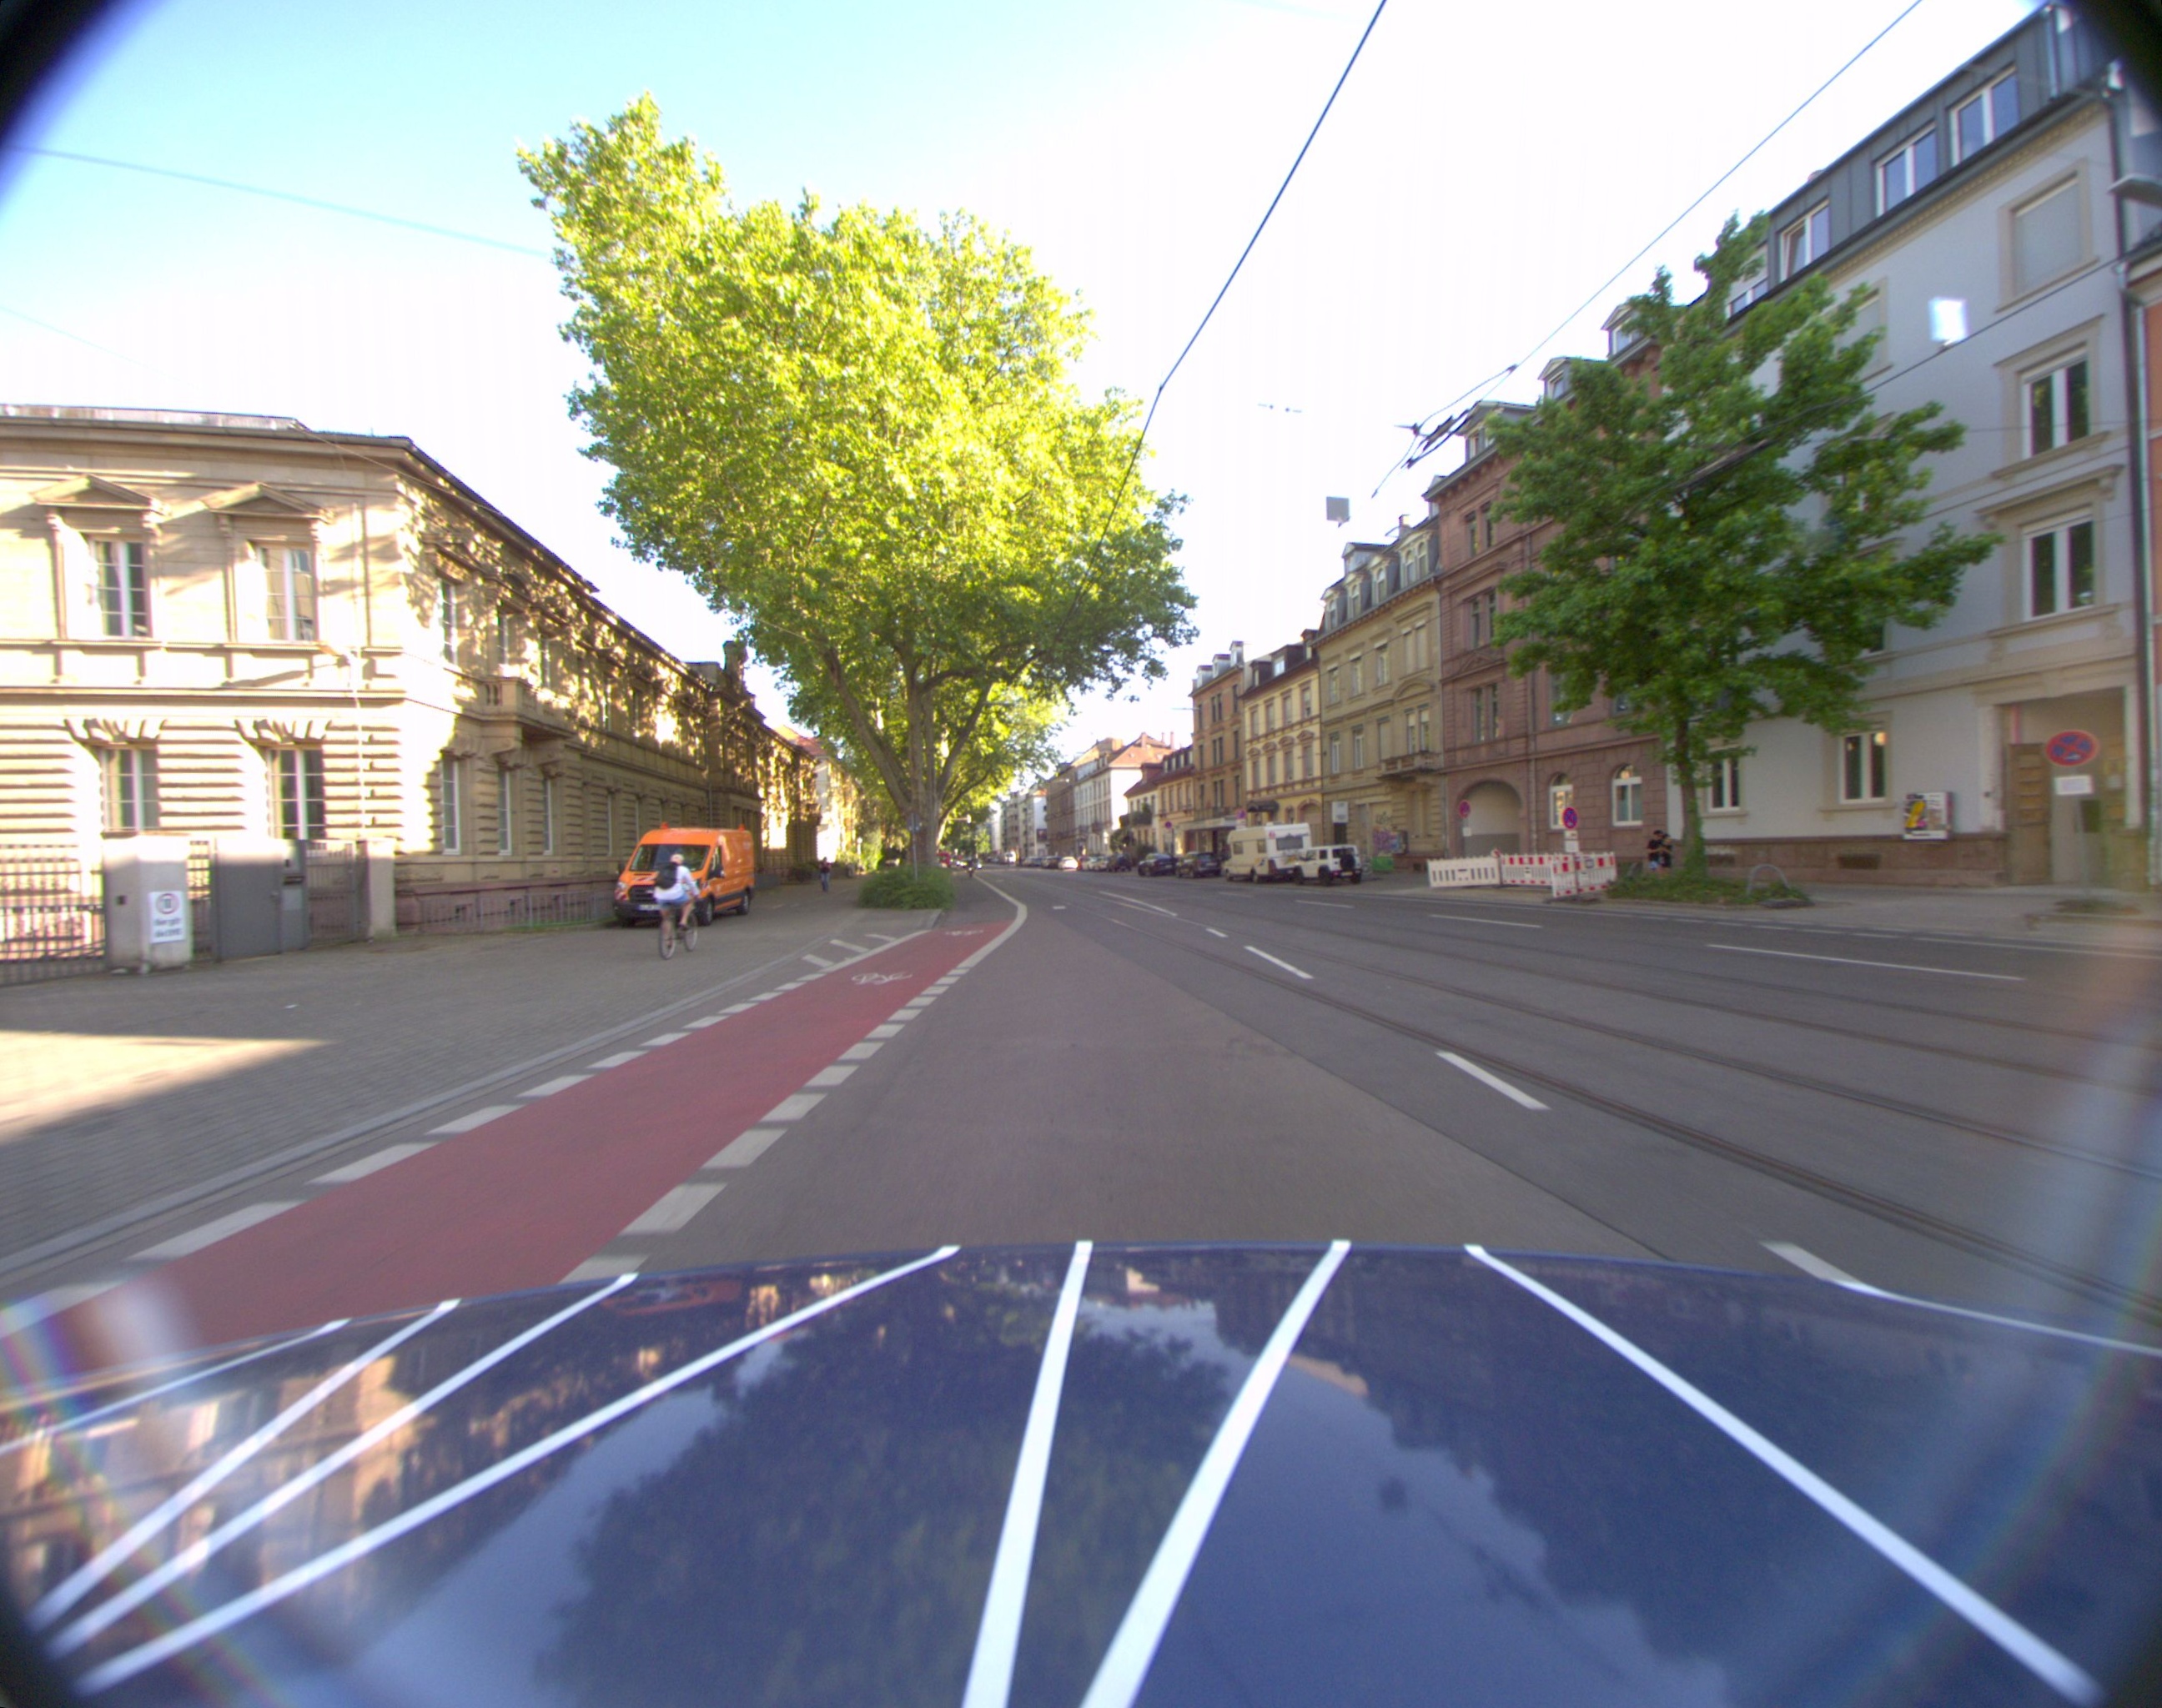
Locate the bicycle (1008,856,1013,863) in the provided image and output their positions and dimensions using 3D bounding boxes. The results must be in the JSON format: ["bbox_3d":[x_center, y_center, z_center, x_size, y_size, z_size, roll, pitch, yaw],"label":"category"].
[{"bbox_3d":[-12.279,0.965,131.847,0.715,1.131,2.118,-1,0,-10],"label":"bicycle"}]

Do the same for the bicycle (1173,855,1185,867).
[{"bbox_3d":[8.732,0.614,67.721,0.505,0.963,2.118,-1,0,-10],"label":"bicycle"}]

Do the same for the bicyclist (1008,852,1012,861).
[{"bbox_3d":[-12.311,0.391,131.885,0.715,1.508,0.953,-1,1,-10],"label":"bicyclist"}]

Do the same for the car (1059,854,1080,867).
[{"bbox_3d":[-1.450,0.810,92.923,1.870,1.423,4.079,-3,1,-11],"label":"car"}]

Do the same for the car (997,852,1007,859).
[{"bbox_3d":[-19.068,0.438,183.585,1.810,1.534,3.915,-4,1,-11],"label":"car"}]

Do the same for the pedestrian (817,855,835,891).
[{"bbox_3d":[-12.313,0.913,36.701,0.653,1.726,1.006,-1,1,-10],"label":"pedestrian"}]

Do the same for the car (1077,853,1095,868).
[{"bbox_3d":[0.550,0.699,82.329,1.423,1.502,3.323,-3,1,-8],"label":"car"}]

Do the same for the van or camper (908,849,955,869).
[{"bbox_3d":[-19.675,0.636,100.170,5.934,2.484,2.217,-1,3,-13],"label":"van or camper"}]

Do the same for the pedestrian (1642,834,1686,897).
[{"bbox_3d":[15.771,0.311,20.557,0.569,1.644,0.687,-4,1,-12],"label":"pedestrian"}]

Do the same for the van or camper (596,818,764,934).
[{"bbox_3d":[-10.163,0.475,19.890,2.042,2.544,5.768,-1,0,-9],"label":"van or camper"}]

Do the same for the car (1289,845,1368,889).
[{"bbox_3d":[10.673,0.517,32.997,1.636,1.696,3.367,-4,1,-13],"label":"car"}]

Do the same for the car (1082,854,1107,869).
[{"bbox_3d":[1.350,0.748,77.524,1.588,1.482,4.466,-4,1,-11],"label":"car"}]

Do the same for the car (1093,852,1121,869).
[{"bbox_3d":[2.427,0.647,72.082,1.669,1.446,4.400,-4,1,-11],"label":"car"}]

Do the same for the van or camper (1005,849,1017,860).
[{"bbox_3d":[-14.608,0.130,158.627,1.946,2.267,4.593,-4,1,-11],"label":"van or camper"}]

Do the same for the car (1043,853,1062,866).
[{"bbox_3d":[-3.866,0.684,103.077,1.799,1.630,4.250,-4,1,-11],"label":"car"}]

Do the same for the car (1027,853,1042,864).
[{"bbox_3d":[-7.560,0.744,123.144,1.799,1.617,4.079,-4,1,-11],"label":"car"}]

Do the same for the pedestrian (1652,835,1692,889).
[{"bbox_3d":[16.392,0.219,21.082,0.578,1.453,0.607,-4,1,-12],"label":"pedestrian"}]

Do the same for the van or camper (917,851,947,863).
[{"bbox_3d":[-31.117,0.560,159.187,6.104,2.417,2.426,-1,1,-10],"label":"van or camper"}]

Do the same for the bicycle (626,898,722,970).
[{"bbox_3d":[-6.944,1.327,13.073,0.676,1.026,1.900,1,0,-2],"label":"bicycle"}]

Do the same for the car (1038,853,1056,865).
[{"bbox_3d":[-4.924,0.676,109.236,1.799,1.630,4.571,-4,1,-11],"label":"car"}]

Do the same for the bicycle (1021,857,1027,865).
[{"bbox_3d":[-8.821,1.027,116.761,0.715,1.131,2.118,-1,0,-10],"label":"bicycle"}]

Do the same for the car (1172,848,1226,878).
[{"bbox_3d":[7.433,0.555,48.385,1.816,1.696,4.438,-5,1,-12],"label":"car"}]

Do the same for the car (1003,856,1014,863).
[{"bbox_3d":[-15.710,1.162,164.006,1.810,1.534,3.915,-4,1,-11],"label":"car"}]

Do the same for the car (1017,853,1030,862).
[{"bbox_3d":[-10.554,0.675,138.937,1.810,1.534,3.915,-4,1,-11],"label":"car"}]

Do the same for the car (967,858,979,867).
[{"bbox_3d":[-17.938,1.369,126.311,1.741,1.365,3.915,-4,1,-11],"label":"car"}]

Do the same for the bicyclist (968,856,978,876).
[{"bbox_3d":[-7.829,0.863,54.999,0.715,1.435,0.953,-1,1,-9],"label":"bicyclist"}]

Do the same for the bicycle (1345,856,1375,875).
[{"bbox_3d":[13.804,0.548,37.593,0.580,0.919,1.790,-1,0,-8],"label":"bicycle"}]

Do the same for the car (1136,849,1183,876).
[{"bbox_3d":[5.698,0.602,55.922,2.000,1.693,4.745,-5,1,-11],"label":"car"}]

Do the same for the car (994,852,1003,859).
[{"bbox_3d":[-20.996,0.382,193.675,1.810,1.534,3.914,-4,1,-13],"label":"car"}]

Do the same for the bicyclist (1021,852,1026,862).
[{"bbox_3d":[-8.844,0.530,116.747,0.715,1.508,0.953,-1,1,-10],"label":"bicyclist"}]

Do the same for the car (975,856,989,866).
[{"bbox_3d":[-14.541,1.010,111.449,1.741,1.365,3.915,-4,1,-11],"label":"car"}]

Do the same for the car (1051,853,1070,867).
[{"bbox_3d":[-2.667,0.779,97.898,1.799,1.587,4.079,-4,1,-11],"label":"car"}]

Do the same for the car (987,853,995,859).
[{"bbox_3d":[-24.775,0.478,209.159,1.810,1.534,3.914,-4,1,-13],"label":"car"}]

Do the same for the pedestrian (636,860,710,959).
[{"bbox_3d":[-6.939,0.917,12.984,0.671,1.610,1.102,1,1,-1],"label":"pedestrian"}]

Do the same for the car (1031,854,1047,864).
[{"bbox_3d":[-6.556,0.803,117.943,1.799,1.368,4.079,-3,1,-11],"label":"car"}]

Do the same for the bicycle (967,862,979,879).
[{"bbox_3d":[-7.838,1.197,55.063,0.715,1.131,2.118,-1,0,-10],"label":"bicycle"}]

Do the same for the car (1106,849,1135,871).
[{"bbox_3d":[3.512,0.522,67.939,1.730,1.736,3.622,-5,1,-10],"label":"car"}]

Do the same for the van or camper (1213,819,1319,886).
[{"bbox_3d":[9.285,-0.087,39.094,2.427,2.930,7.244,-5,1,-9],"label":"van or camper"}]
